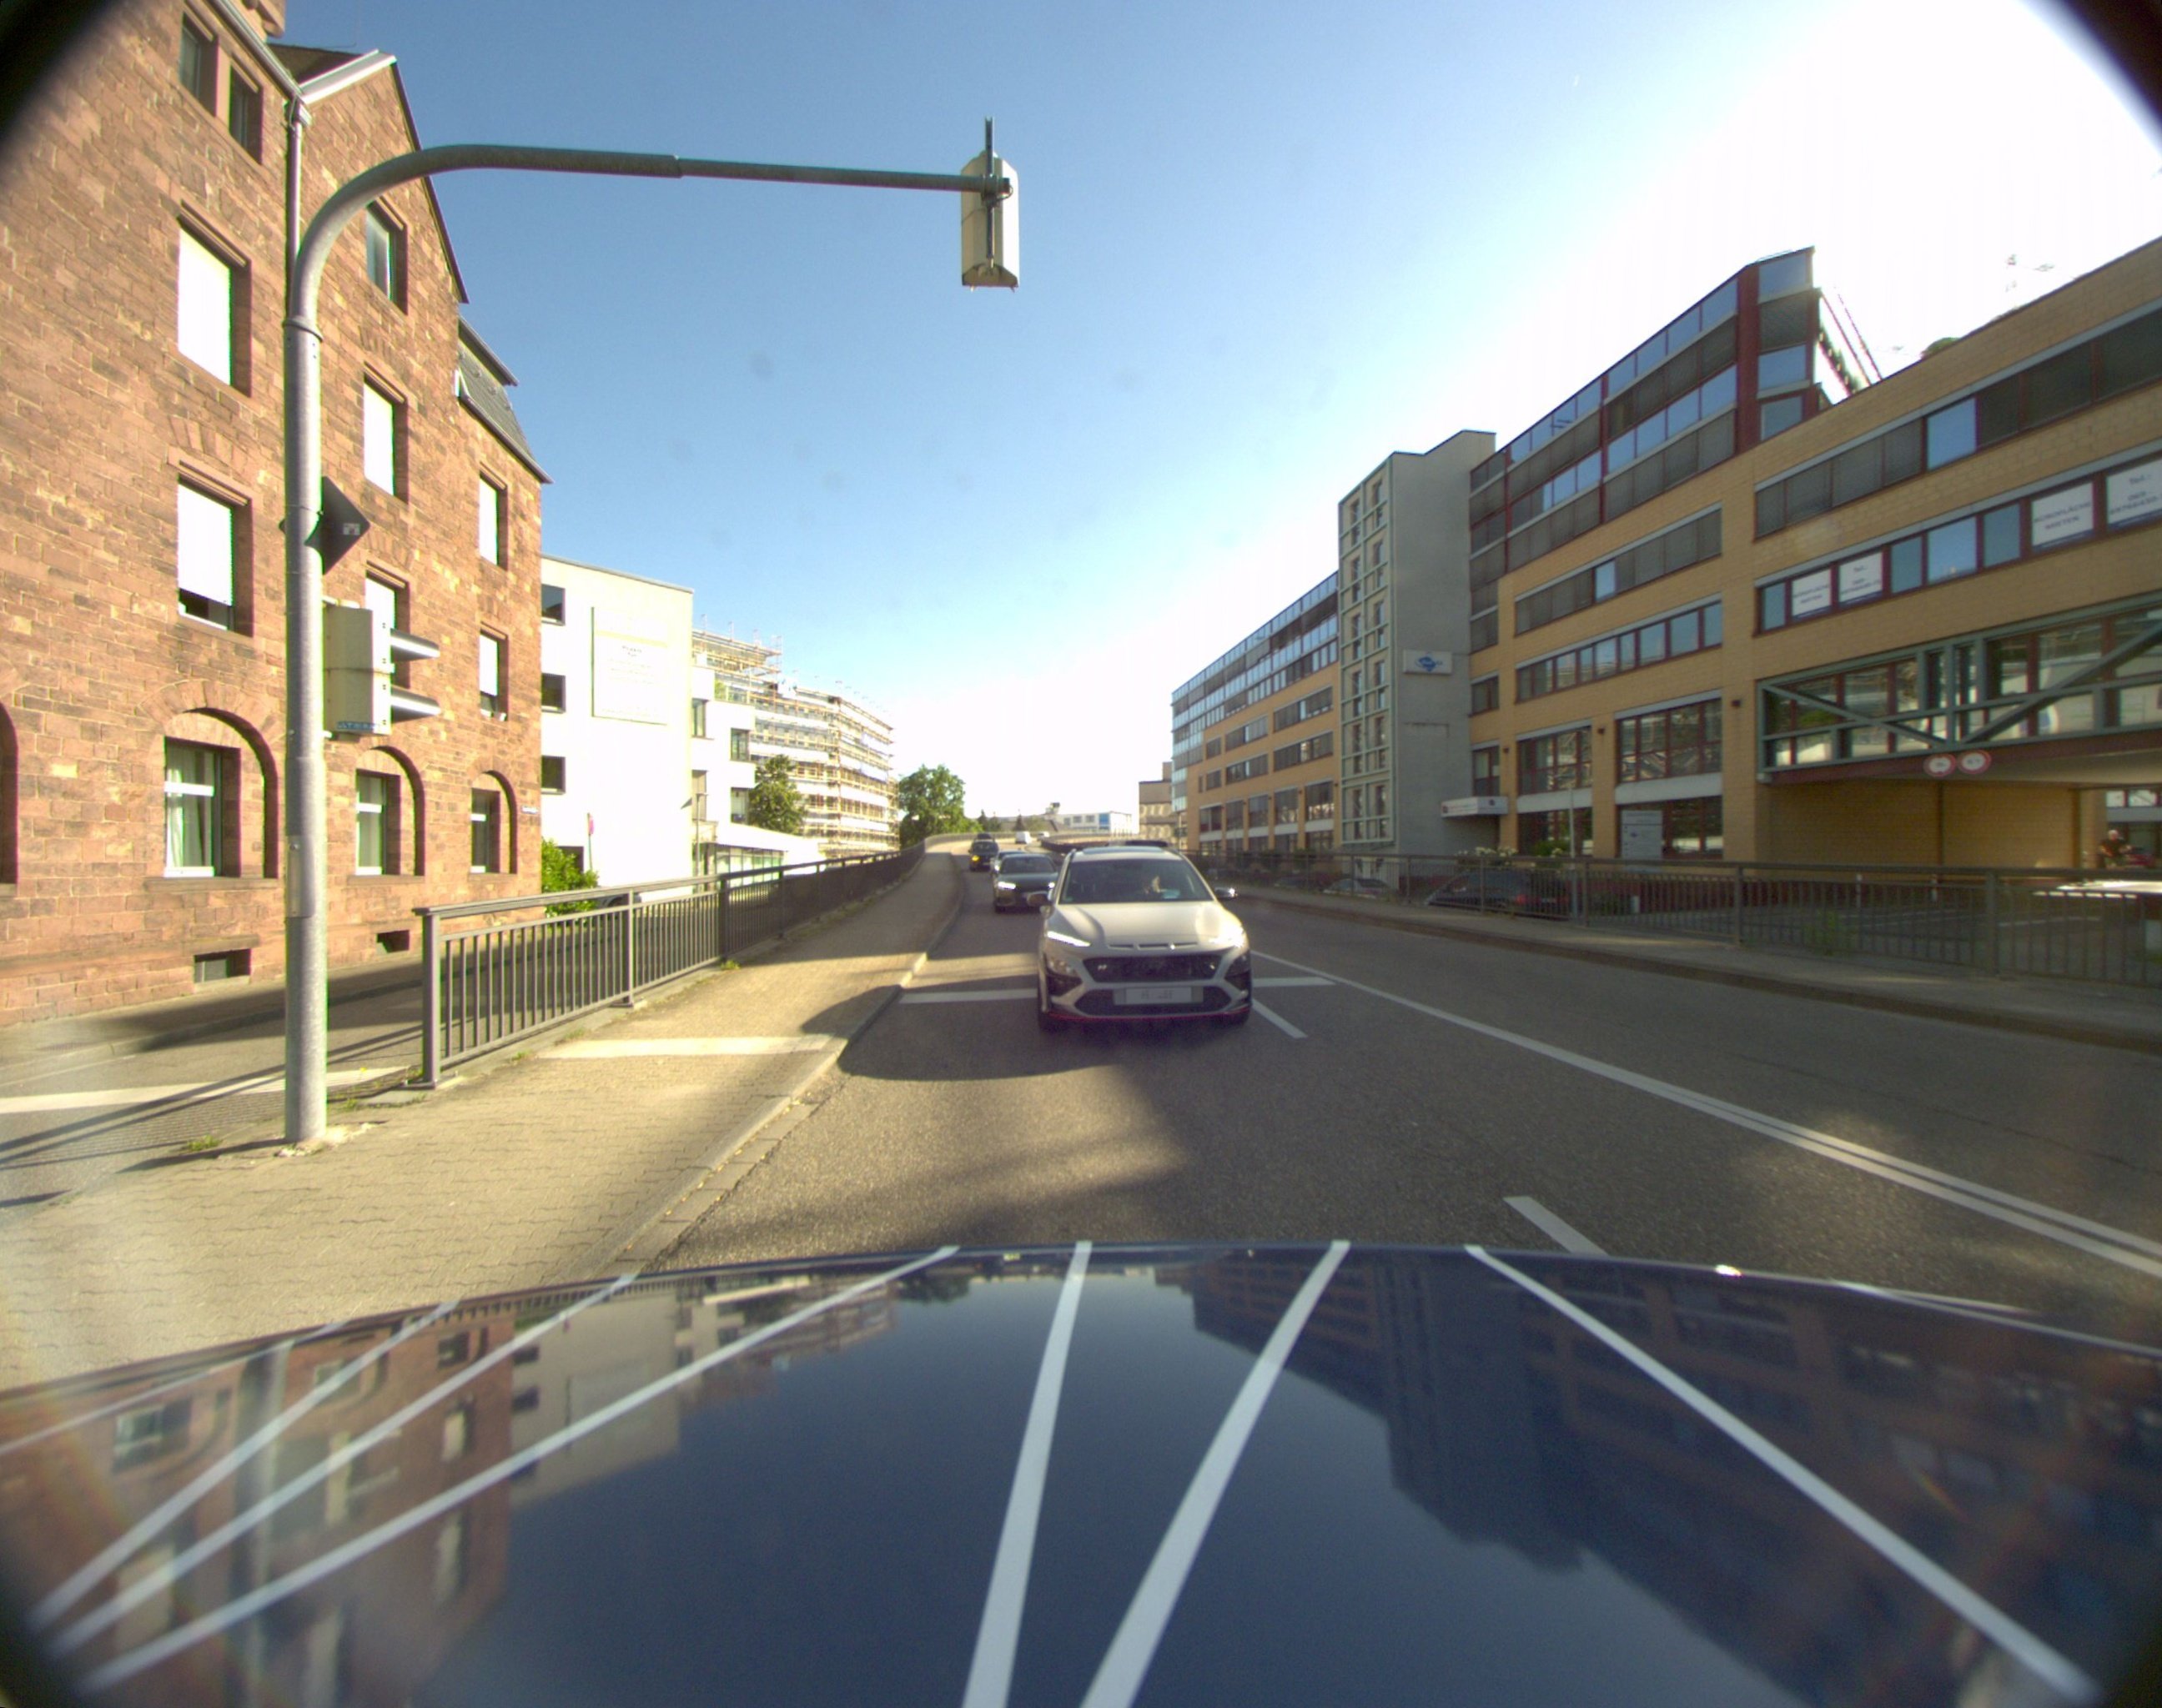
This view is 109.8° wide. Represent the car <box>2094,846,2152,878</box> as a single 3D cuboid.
[{"bbox_3d":[53.705,0.399,39.203,3.159,1.564,1.639,0,-1,-38],"label":"car"}]

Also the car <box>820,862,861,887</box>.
[{"bbox_3d":[-15.518,1.301,49.172,1.850,1.526,3.997,0,0,-7],"label":"car"}]

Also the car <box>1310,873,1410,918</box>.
[{"bbox_3d":[11.092,1.587,30.596,1.826,1.594,4.353,0,0,-10],"label":"car"}]

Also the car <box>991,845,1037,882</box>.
[{"bbox_3d":[-3.236,0.389,35.918,1.850,1.527,4.503,-1,2,-9],"label":"car"}]

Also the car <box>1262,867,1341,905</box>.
[{"bbox_3d":[10.303,1.454,35.823,1.826,1.594,4.353,0,0,-10],"label":"car"}]

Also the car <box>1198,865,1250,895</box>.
[{"bbox_3d":[8.606,1.514,46.184,2.000,1.714,3.997,0,0,-7],"label":"car"}]

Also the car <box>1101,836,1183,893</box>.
[{"bbox_3d":[2.155,0.375,28.211,2.000,1.924,4.848,0,0,-8],"label":"car"}]

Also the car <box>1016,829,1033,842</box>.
[{"bbox_3d":[-8.471,-2.817,113.905,1.814,1.791,5.122,0,0,3],"label":"car"}]

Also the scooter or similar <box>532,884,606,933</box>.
[{"bbox_3d":[-14.267,1.502,21.201,1.463,1.212,0.784,-3,1,-14],"label":"scooter or similar"}]

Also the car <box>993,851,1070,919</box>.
[{"bbox_3d":[-1.396,0.723,20.092,1.722,1.483,4.165,-1,2,-8],"label":"car"}]

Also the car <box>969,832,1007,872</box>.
[{"bbox_3d":[-5.608,-0.167,45.604,1.911,2.202,4.592,-1,2,-11],"label":"car"}]

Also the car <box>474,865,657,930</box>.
[{"bbox_3d":[-16.973,1.337,25.216,1.823,1.757,4.658,1,2,42],"label":"car"}]

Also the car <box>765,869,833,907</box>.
[{"bbox_3d":[-13.037,1.538,35.424,1.850,1.422,4.678,-1,2,-6],"label":"car"}]

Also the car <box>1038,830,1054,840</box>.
[{"bbox_3d":[-5.939,-3.182,128.693,1.823,1.594,4.003,1,0,10],"label":"car"}]

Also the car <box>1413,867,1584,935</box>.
[{"bbox_3d":[12.411,1.319,23.013,1.957,1.747,4.683,-1,0,-11],"label":"car"}]

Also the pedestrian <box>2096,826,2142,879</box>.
[{"bbox_3d":[36.235,-0.045,26.530,0.787,1.833,0.678,0,0,-12],"label":"pedestrian"}]

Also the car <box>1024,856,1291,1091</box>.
[{"bbox_3d":[0.401,0.845,7.502,1.850,1.561,4.218,-1,1,-5],"label":"car"}]
